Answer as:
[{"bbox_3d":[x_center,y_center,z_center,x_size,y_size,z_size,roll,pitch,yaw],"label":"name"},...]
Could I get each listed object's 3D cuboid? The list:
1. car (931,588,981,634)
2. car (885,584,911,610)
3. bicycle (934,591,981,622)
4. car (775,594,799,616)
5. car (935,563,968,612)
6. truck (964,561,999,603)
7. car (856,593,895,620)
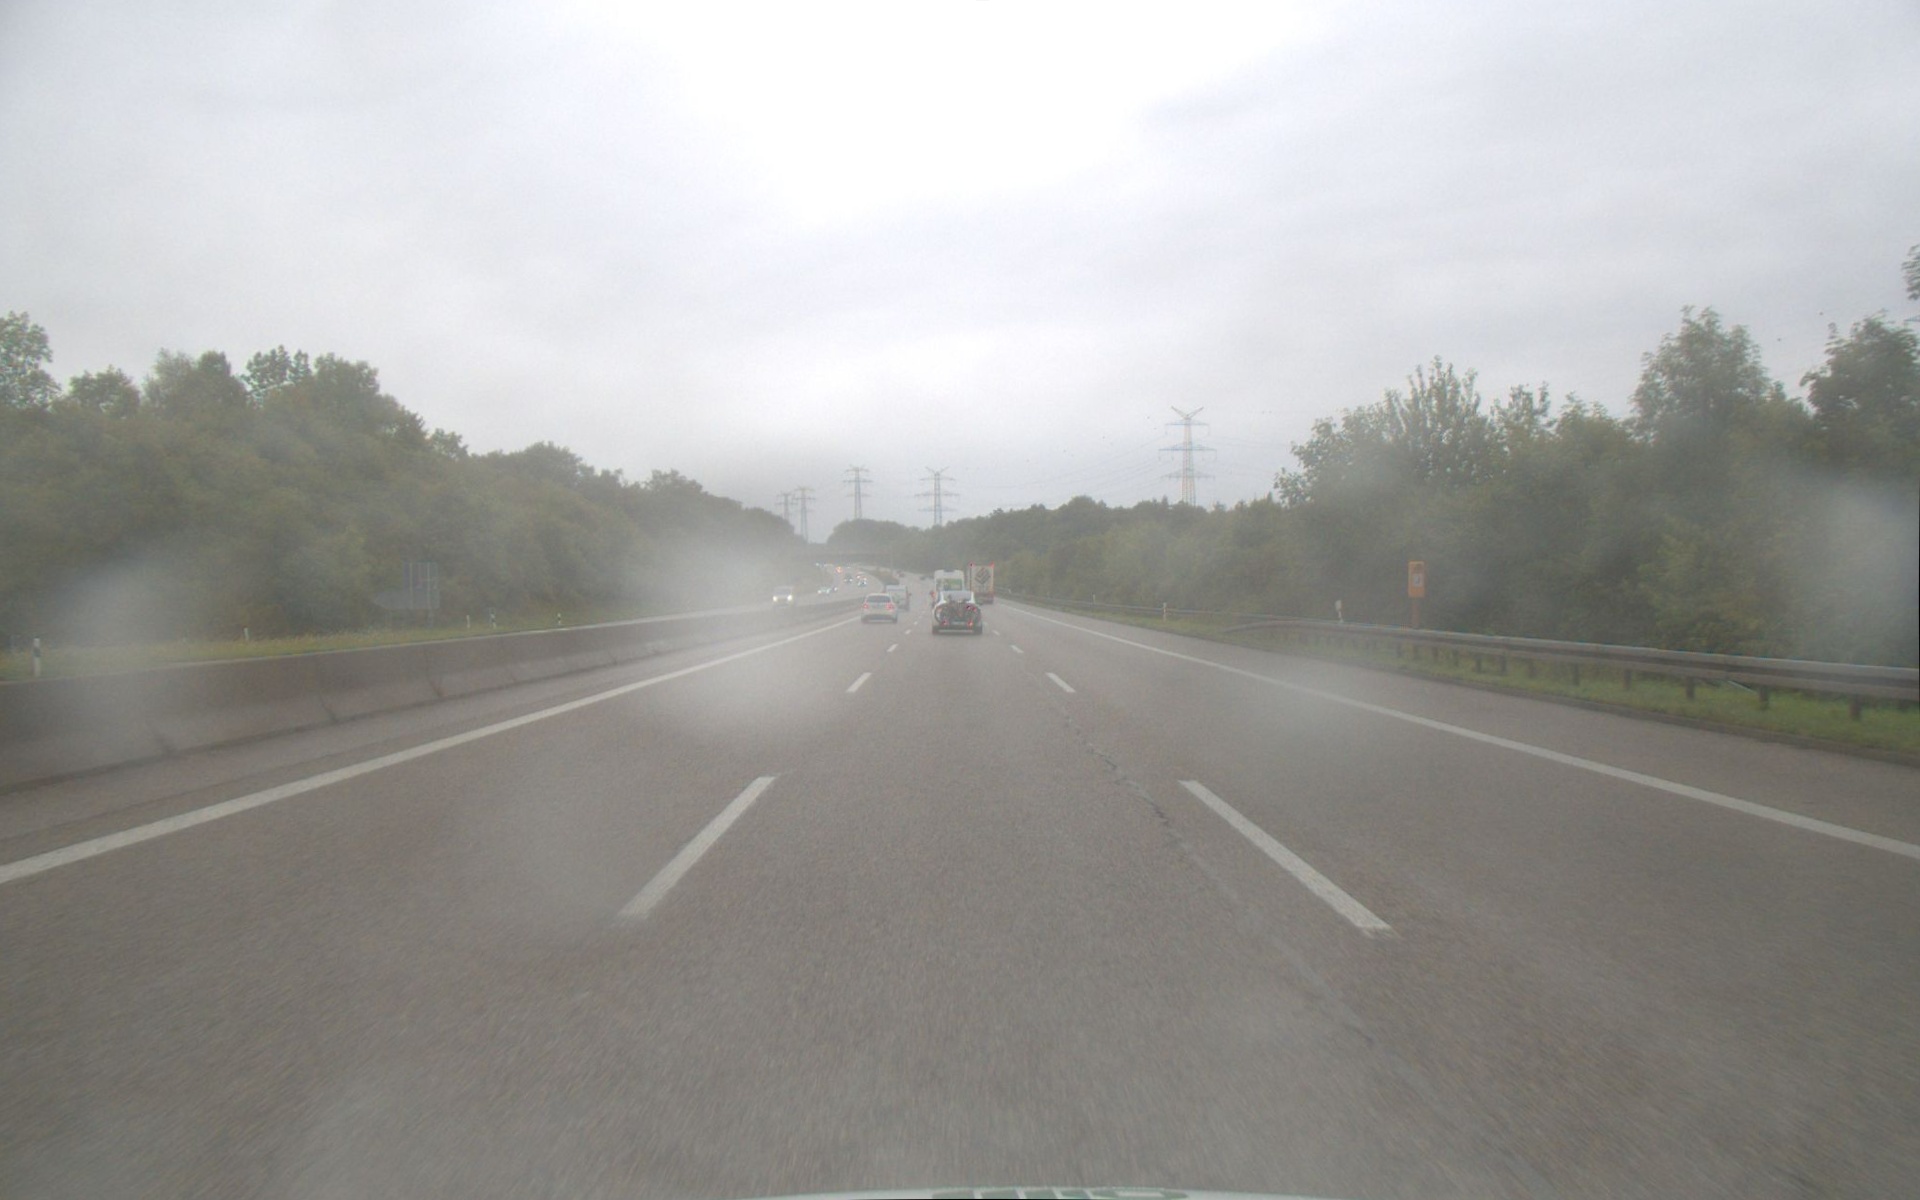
[{"bbox_3d":[-0.190,0.379,62.980,1.822,1.595,4.963,0,1,-1],"label":"car"},{"bbox_3d":[-4.483,-0.222,119.823,1.809,1.803,3.998,-1,0,-2],"label":"car"},{"bbox_3d":[-0.101,0.242,60.031,1.718,1.109,0.913,0,0,-2],"label":"bicycle"},{"bbox_3d":[-16.480,0.431,157.711,1.954,2.049,5.758,-1,0,-3],"label":"car"},{"bbox_3d":[-0.533,-0.749,101.112,1.953,2.914,3.999,1,0,-1],"label":"car"},{"bbox_3d":[2.274,-1.979,178.831,3.530,4.407,13.199,-1,1,0],"label":"truck"},{"bbox_3d":[-4.170,0.322,82.196,1.829,1.310,3.998,-1,0,-2],"label":"car"}]
